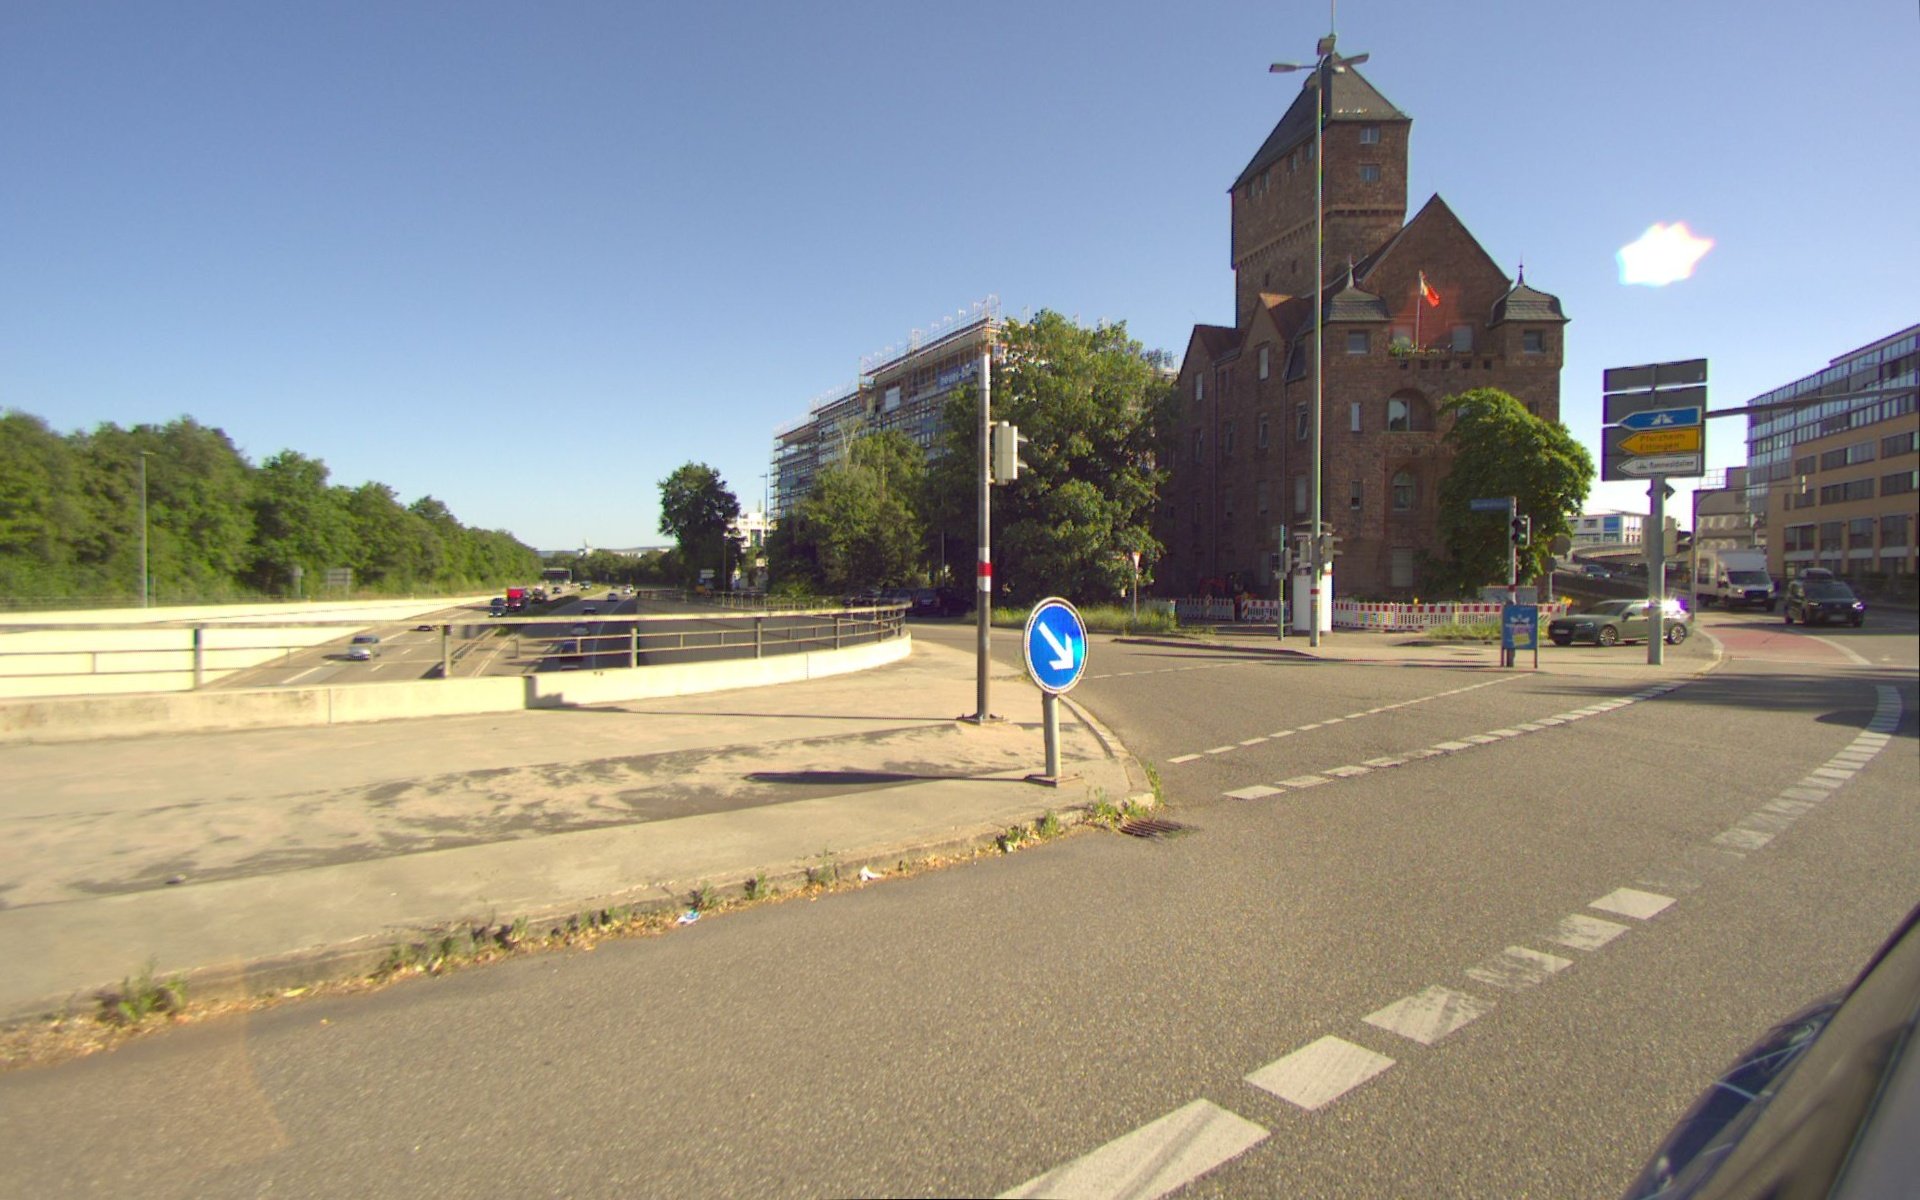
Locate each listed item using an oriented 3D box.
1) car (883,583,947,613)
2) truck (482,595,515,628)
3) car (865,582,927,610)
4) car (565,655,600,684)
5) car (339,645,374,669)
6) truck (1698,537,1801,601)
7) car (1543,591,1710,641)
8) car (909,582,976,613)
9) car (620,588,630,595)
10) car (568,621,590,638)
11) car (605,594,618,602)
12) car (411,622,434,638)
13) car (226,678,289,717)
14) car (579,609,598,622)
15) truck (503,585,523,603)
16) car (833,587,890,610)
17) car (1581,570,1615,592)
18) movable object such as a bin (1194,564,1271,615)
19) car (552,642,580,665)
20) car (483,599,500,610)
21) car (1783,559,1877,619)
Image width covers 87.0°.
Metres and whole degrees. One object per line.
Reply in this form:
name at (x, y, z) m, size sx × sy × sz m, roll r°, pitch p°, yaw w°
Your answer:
car at (-2.488, -0.126, 56.807) m, size 1.983 × 1.581 × 3.743 m, roll 1°, pitch 1°, yaw 29°
truck at (-57.542, 1.341, 126.442) m, size 2.527 × 3.770 × 10.274 m, roll -2°, pitch 1°, yaw -18°
car at (-3.785, -0.275, 60.539) m, size 1.983 × 1.581 × 3.743 m, roll 1°, pitch 1°, yaw 29°
car at (-24.078, 4.391, 64.507) m, size 1.959 × 1.415 × 4.008 m, roll -3°, pitch 1°, yaw -22°
car at (-46.816, 4.389, 78.551) m, size 1.959 × 1.594 × 4.006 m, roll 0°, pitch 0°, yaw -25°
truck at (41.324, -1.583, 53.217) m, size 2.475 × 3.167 × 6.908 m, roll 0°, pitch 1°, yaw 22°
car at (21.109, 0.483, 32.113) m, size 4.538 × 1.489 × 1.884 m, roll 0°, pitch 0°, yaw -15°
car at (-0.885, -0.165, 54.094) m, size 1.983 × 1.581 × 3.743 m, roll 1°, pitch 1°, yaw 29°
car at (-74.225, -1.960, 224.287) m, size 1.959 × 1.415 × 4.008 m, roll -3°, pitch 1°, yaw -22°
car at (-37.461, 2.913, 99.444) m, size 1.959 × 1.415 × 4.008 m, roll -3°, pitch 1°, yaw -22°
car at (-61.531, -0.359, 178.486) m, size 1.959 × 1.415 × 4.008 m, roll -3°, pitch 1°, yaw -22°
car at (-56.598, 3.117, 106.672) m, size 1.823 × 1.583 × 4.007 m, roll 0°, pitch 0°, yaw -24°
car at (-35.413, 4.870, 51.109) m, size 1.959 × 1.505 × 4.007 m, roll 0°, pitch 0°, yaw -25°
car at (-44.415, 1.817, 120.828) m, size 1.959 × 1.415 × 4.008 m, roll -3°, pitch 1°, yaw -22°
truck at (-62.961, -0.871, 142.700) m, size 2.239 × 2.416 × 5.395 m, roll -2°, pitch 1°, yaw -21°
car at (-6.531, -0.111, 67.493) m, size 1.983 × 1.472 × 3.743 m, roll 1°, pitch 1°, yaw 29°
car at (53.598, -1.585, 85.078) m, size 1.739 × 1.781 × 4.745 m, roll 1°, pitch 1°, yaw 25°
movable object such as a bin at (13.633, -0.559, 50.859) m, size 1.958 × 2.439 × 4.009 m, roll 0°, pitch 1°, yaw -15°
car at (-30.775, 4.178, 78.979) m, size 1.959 × 1.415 × 4.008 m, roll -3°, pitch 1°, yaw -22°
car at (-70.615, 0.645, 152.595) m, size 1.959 × 1.415 × 4.008 m, roll -3°, pitch 1°, yaw -22°
car at (35.221, -0.477, 41.101) m, size 1.934 × 2.290 × 4.736 m, roll 1°, pitch 1°, yaw 29°
